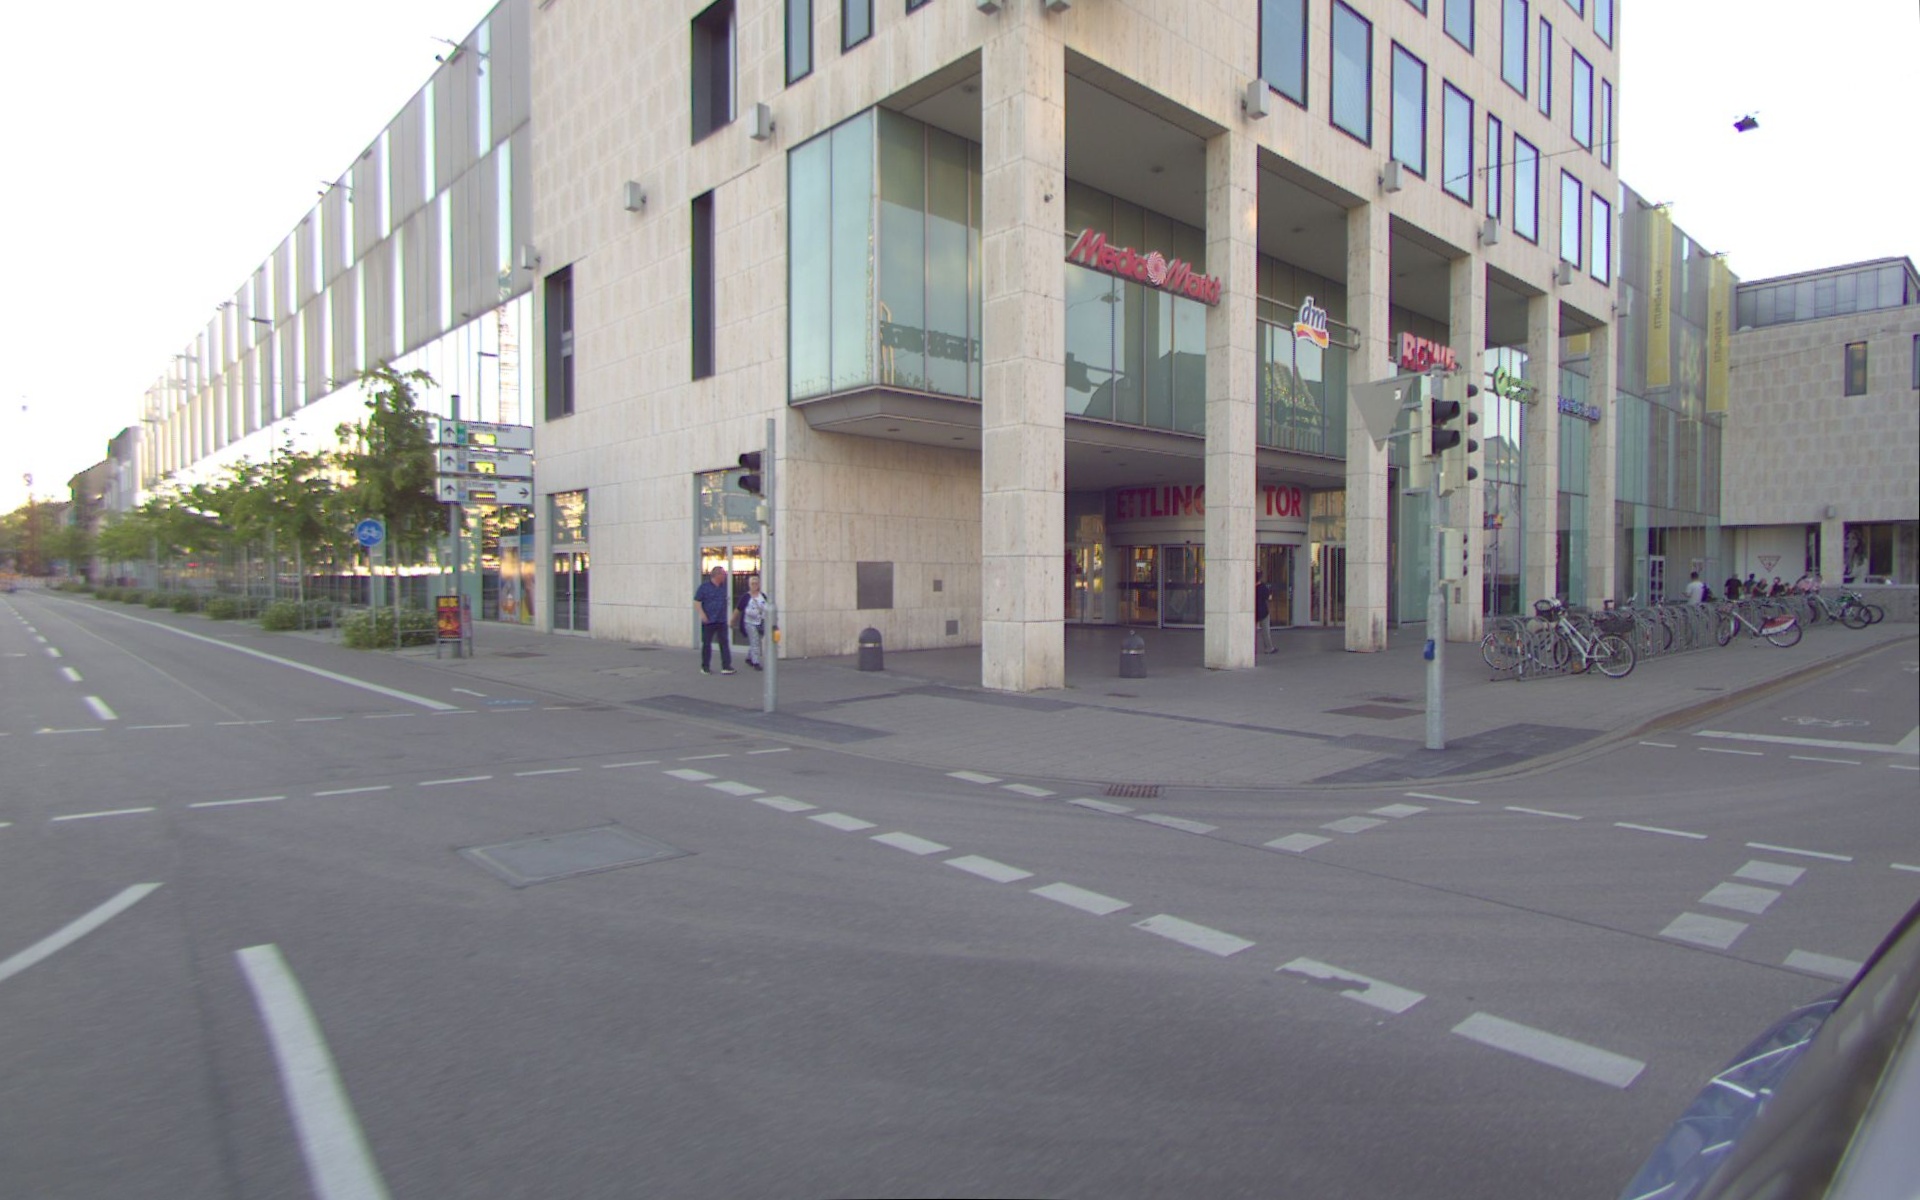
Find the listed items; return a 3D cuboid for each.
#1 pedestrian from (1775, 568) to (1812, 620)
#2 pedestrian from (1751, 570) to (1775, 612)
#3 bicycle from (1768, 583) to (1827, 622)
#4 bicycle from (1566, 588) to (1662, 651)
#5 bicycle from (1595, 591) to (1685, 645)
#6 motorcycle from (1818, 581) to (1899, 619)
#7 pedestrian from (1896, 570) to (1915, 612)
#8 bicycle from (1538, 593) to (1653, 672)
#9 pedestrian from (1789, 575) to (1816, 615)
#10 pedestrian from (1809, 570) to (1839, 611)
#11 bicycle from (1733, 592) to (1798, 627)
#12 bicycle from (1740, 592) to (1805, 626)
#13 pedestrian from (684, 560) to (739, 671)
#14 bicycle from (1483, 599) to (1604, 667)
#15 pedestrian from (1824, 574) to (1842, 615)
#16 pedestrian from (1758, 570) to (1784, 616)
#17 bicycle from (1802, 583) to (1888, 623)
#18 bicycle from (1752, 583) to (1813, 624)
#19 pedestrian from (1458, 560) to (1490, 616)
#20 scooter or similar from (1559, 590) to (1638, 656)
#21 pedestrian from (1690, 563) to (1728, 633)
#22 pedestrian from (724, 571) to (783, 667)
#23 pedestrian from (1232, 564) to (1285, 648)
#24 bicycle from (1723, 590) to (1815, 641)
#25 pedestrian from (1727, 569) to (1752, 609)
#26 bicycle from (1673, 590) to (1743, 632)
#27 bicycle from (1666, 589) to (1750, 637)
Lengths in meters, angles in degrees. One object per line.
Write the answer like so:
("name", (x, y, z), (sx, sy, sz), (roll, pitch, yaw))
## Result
("pedestrian", (27.176, -0.202, 33.003), (0.801, 1.663, 0.640), (1, 1, 31))
("pedestrian", (33.172, -0.393, 41.799), (0.696, 1.717, 0.807), (1, 1, 43))
("bicycle", (26.045, 0.084, 31.488), (0.509, 1.178, 1.343), (0, -1, -42))
("bicycle", (13.436, 0.405, 20.819), (0.607, 1.243, 1.517), (0, -1, -41))
("bicycle", (14.660, 0.398, 21.835), (0.543, 1.120, 1.516), (0, -1, -43))
("motorcycle", (30.249, -0.024, 34.099), (0.473, 1.239, 2.003), (-1, 2, -44))
("pedestrian", (40.656, -0.399, 43.538), (0.484, 1.765, 0.516), (-1, 1, -39))
("bicycle", (10.341, 0.496, 16.502), (0.538, 1.198, 1.484), (0, 2, -36))
("pedestrian", (37.657, -0.232, 45.220), (0.645, 1.765, 0.793), (-1, 1, -38))
("pedestrian", (37.308, -0.427, 43.699), (0.924, 1.765, 0.793), (-1, 1, -39))
("bicycle", (22.624, 0.269, 28.444), (0.509, 0.944, 1.343), (0, -1, -42))
("bicycle", (23.131, 0.266, 28.828), (0.509, 0.944, 1.343), (0, -1, -42))
("pedestrian", (-4.011, 0.235, 16.335), (0.664, 1.746, 0.582), (1, 1, 37))
("bicycle", (10.181, 0.548, 17.709), (1.768, 1.092, 0.475), (2, 2, 42))
("pedestrian", (38.419, -0.243, 44.545), (0.645, 1.765, 0.494), (-1, 1, -39))
("pedestrian", (32.151, -0.306, 40.125), (0.798, 1.802, 0.619), (-1, 1, -39))
("bicycle", (26.229, 0.097, 30.014), (0.458, 1.161, 1.837), (-1, -1, -40))
("bicycle", (24.493, 0.102, 30.149), (0.509, 1.178, 1.343), (0, -1, -42))
("pedestrian", (15.472, -0.364, 30.451), (0.695, 1.672, 0.629), (-1, 1, -40))
("scooter or similar", (12.236, 0.418, 19.418), (0.485, 1.214, 1.194), (-1, 2, -45))
("pedestrian", (18.792, -0.066, 25.391), (0.705, 1.713, 0.620), (1, 1, 41))
("pedestrian", (-3.473, 0.297, 17.044), (0.664, 1.565, 0.716), (1, 1, 37))
("pedestrian", (6.066, 0.110, 20.552), (0.696, 1.659, 0.792), (-1, 1, -42))
("bicycle", (17.949, 0.346, 22.484), (0.458, 1.077, 1.517), (-1, -1, -40))
("pedestrian", (32.562, -0.475, 42.284), (0.738, 1.668, 0.807), (1, 1, 43))
("bicycle", (19.706, 0.297, 26.661), (1.439, 1.078, 0.572), (-2, -1, 39))
("bicycle", (18.090, 0.317, 24.507), (0.570, 1.138, 1.518), (-1, -1, -37))
